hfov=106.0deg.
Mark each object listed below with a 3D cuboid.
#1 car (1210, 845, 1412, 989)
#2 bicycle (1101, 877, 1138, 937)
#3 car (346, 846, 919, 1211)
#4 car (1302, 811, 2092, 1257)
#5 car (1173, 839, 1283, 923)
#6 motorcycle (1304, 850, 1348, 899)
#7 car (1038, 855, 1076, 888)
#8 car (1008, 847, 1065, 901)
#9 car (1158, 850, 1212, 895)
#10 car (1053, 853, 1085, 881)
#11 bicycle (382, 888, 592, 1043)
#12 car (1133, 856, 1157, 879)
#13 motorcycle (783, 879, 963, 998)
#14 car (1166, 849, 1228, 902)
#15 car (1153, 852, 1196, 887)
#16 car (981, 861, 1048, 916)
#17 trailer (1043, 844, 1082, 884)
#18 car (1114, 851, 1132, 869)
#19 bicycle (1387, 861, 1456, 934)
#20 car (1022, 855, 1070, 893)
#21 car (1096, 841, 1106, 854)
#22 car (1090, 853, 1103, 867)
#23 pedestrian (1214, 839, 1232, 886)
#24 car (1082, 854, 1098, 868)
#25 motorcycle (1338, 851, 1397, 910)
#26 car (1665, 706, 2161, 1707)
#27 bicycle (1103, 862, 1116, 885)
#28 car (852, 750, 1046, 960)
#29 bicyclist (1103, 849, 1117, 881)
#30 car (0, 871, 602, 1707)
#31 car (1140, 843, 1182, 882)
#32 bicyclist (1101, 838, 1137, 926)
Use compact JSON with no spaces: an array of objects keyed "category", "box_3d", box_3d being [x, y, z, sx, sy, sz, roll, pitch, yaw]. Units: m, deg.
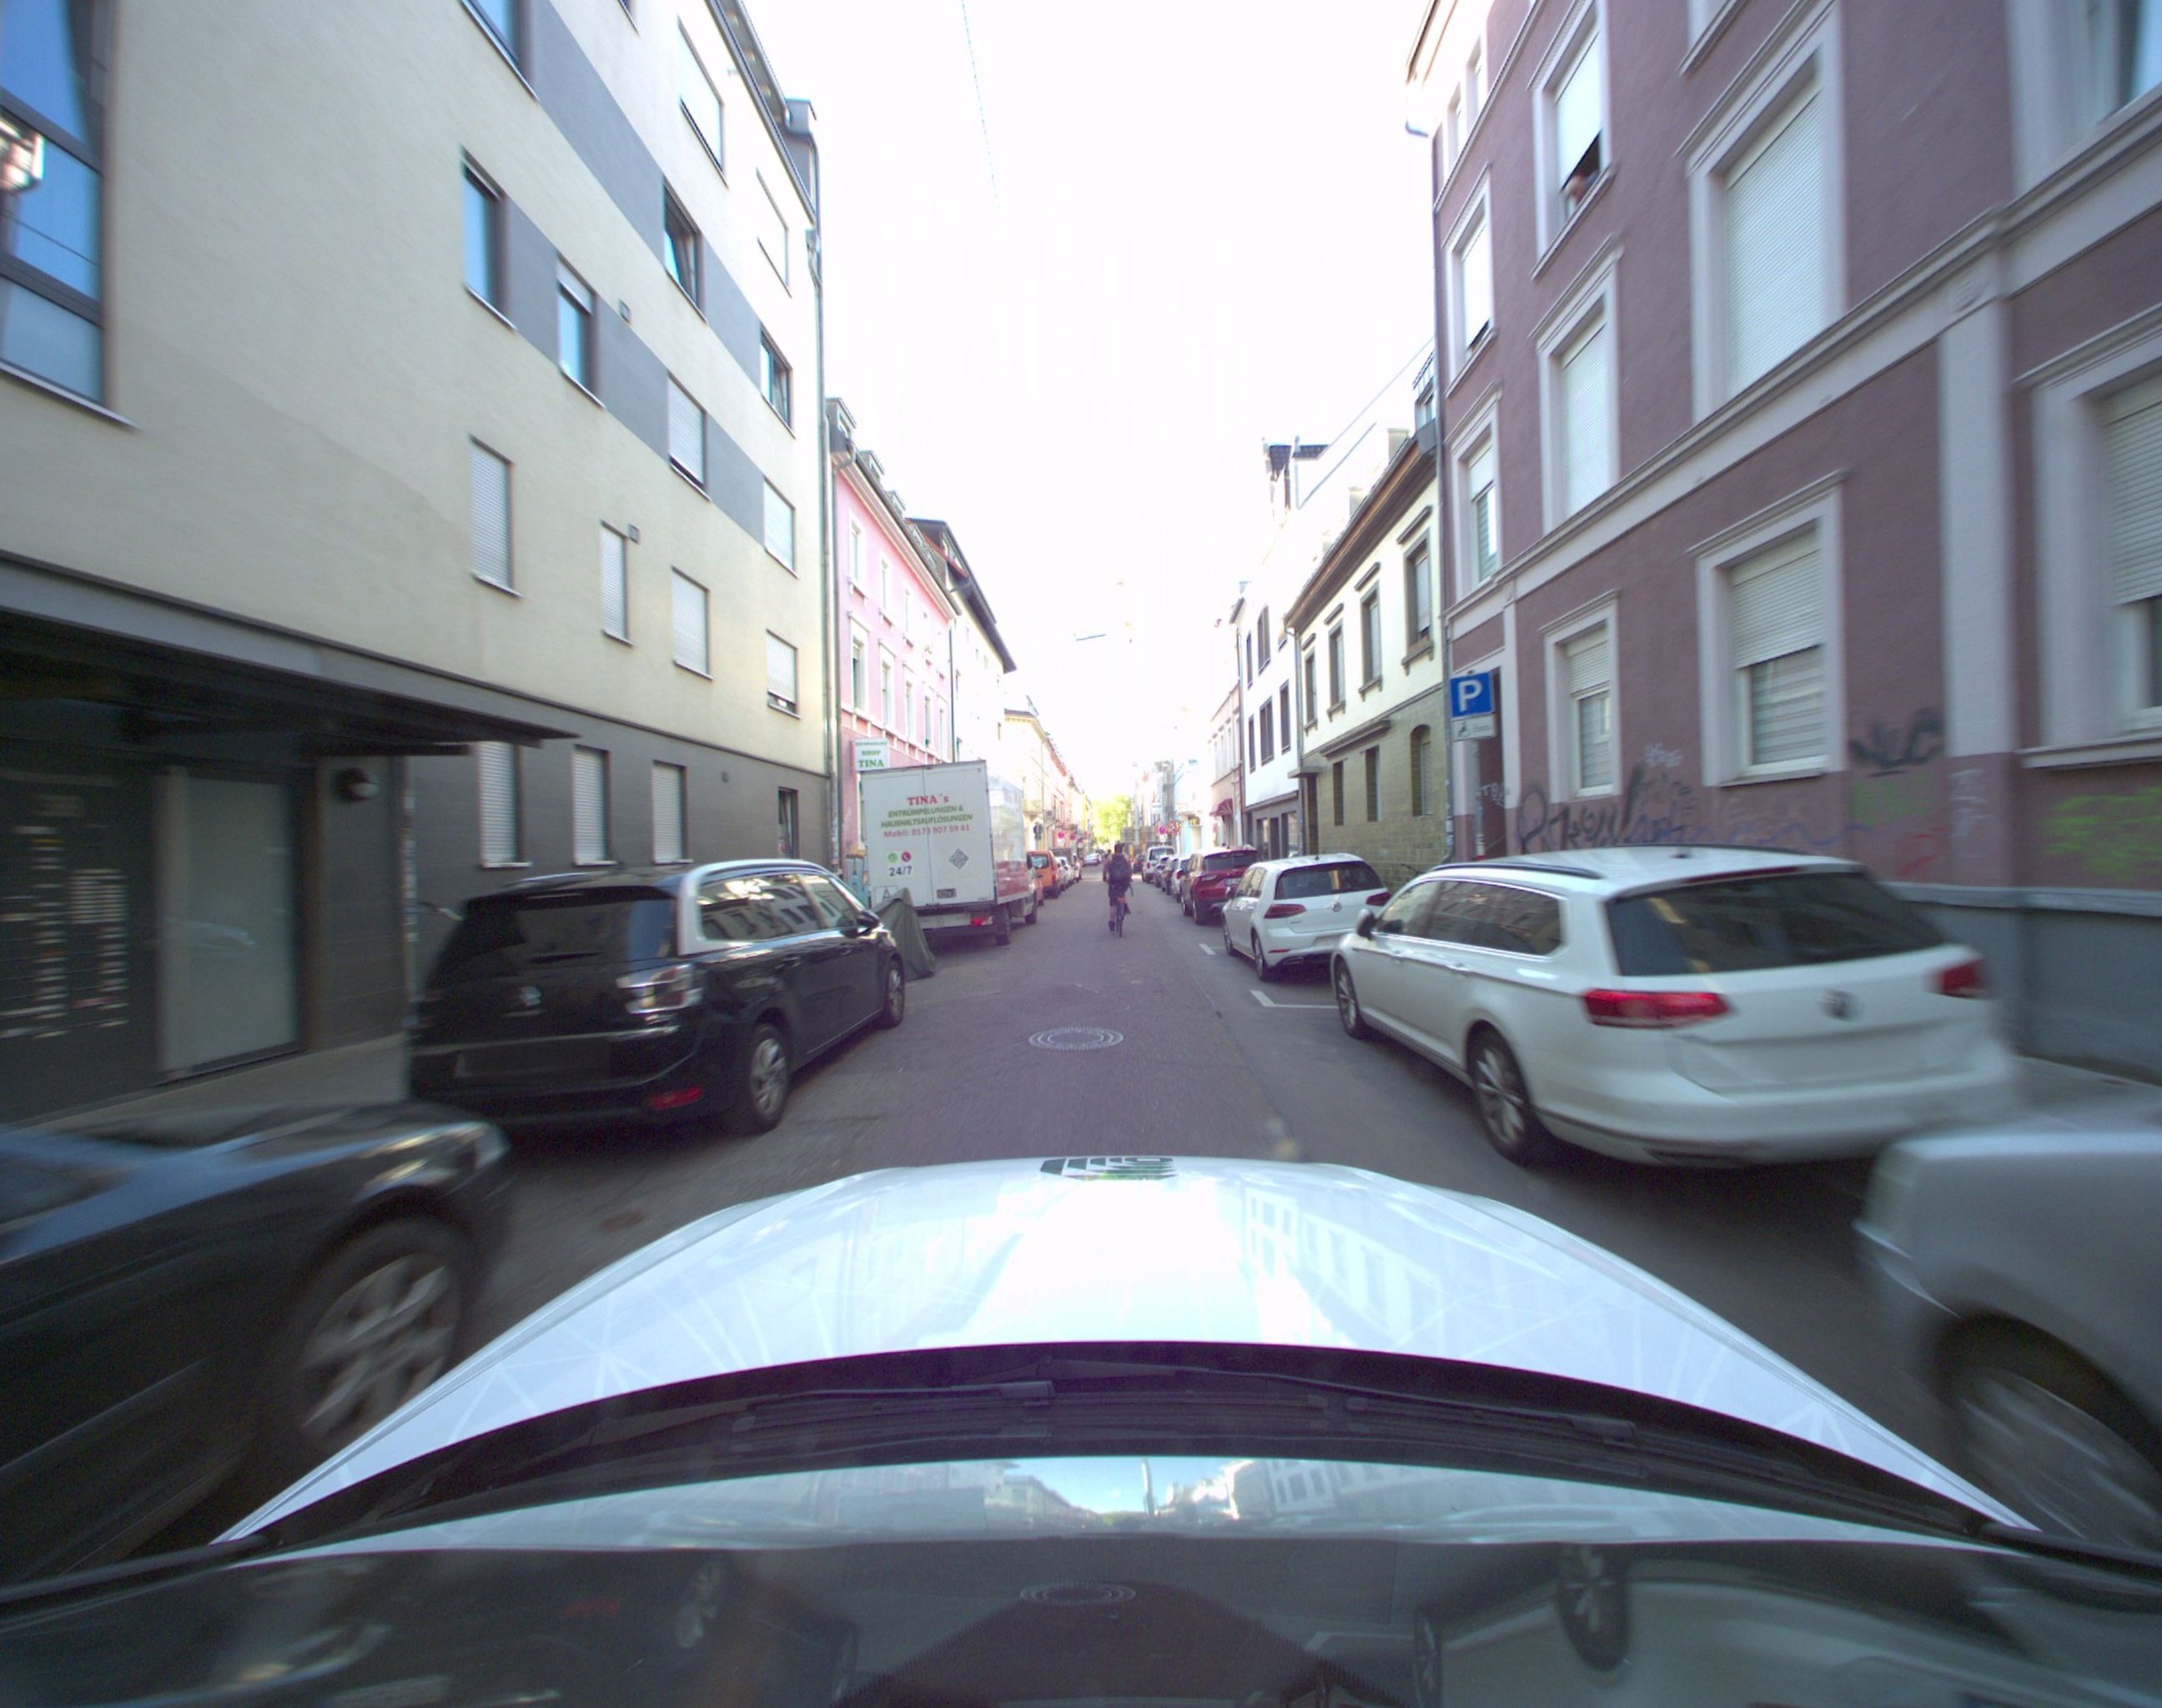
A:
[{"category":"car","box_3d":[2.945,0.736,11.309,1.680,1.543,4.047,-4,-1,2]},{"category":"bicycle","box_3d":[0.750,1.013,16.128,0.674,1.074,1.942,-1,-1,2]},{"category":"car","box_3d":[-2.620,0.835,6.106,1.710,1.650,4.247,-4,1,2]},{"category":"car","box_3d":[2.893,0.686,5.326,1.690,1.543,4.630,-4,-1,2]},{"category":"car","box_3d":[3.336,0.569,19.266,1.911,1.706,4.368,-2,0,2]},{"category":"motorcycle","box_3d":[5.934,0.482,19.813,0.499,1.095,1.879,-4,-1,2]},{"category":"car","box_3d":[-1.204,0.857,41.729,1.647,1.537,3.636,-3,-1,2]},{"category":"car","box_3d":[-1.635,0.745,31.197,1.746,1.816,4.079,-4,-1,1]},{"category":"car","box_3d":[4.005,0.692,31.903,1.640,1.475,3.972,-6,-1,2]},{"category":"car","box_3d":[-0.724,0.807,50.681,1.743,1.573,3.797,-3,-1,2]},{"category":"bicycle","box_3d":[-5.375,0.945,7.521,0.488,1.164,1.775,-4,0,3]},{"category":"car","box_3d":[4.687,0.999,60.397,1.605,1.633,3.612,-1,-1,2]},{"category":"motorcycle","box_3d":[-2.656,1.038,10.633,0.782,1.253,2.120,-4,0,43]},{"category":"car","box_3d":[3.821,0.688,27.402,1.660,1.505,3.819,-5,-1,3]},{"category":"car","box_3d":[4.302,0.713,37.939,1.742,1.487,3.803,-3,-1,4]},{"category":"car","box_3d":[-1.998,1.022,25.502,1.572,1.483,3.566,-5,-1,2]},{"category":"trailer","box_3d":[-1.006,0.585,46.373,1.875,2.092,3.739,-3,-1,2]},{"category":"car","box_3d":[3.886,0.568,76.481,1.605,1.560,3.612,-1,-1,2]},{"category":"bicycle","box_3d":[5.777,0.705,13.911,0.519,1.173,1.686,-1,-1,2]},{"category":"car","box_3d":[-1.492,0.860,36.592,1.743,1.537,4.321,-3,-1,2]},{"category":"car","box_3d":[3.606,-1.144,146.330,1.743,2.318,3.797,-3,-1,2]},{"category":"car","box_3d":[2.297,0.897,117.287,1.743,1.821,3.797,-3,-1,2]},{"category":"pedestrian","box_3d":[6.183,0.352,35.373,0.641,2.014,0.764,-1,-1,2]},{"category":"car","box_3d":[1.152,0.847,99.717,1.743,1.683,3.797,-3,-1,2]},{"category":"motorcycle","box_3d":[5.852,0.522,16.730,0.556,1.095,1.777,-4,-1,2]},{"category":"car","box_3d":[2.513,0.601,0.685,1.550,1.712,3.560,-1,-1,2]},{"category":"bicycle","box_3d":[1.440,0.968,40.898,0.646,1.129,2.137,-1,-1,2]},{"category":"car","box_3d":[-2.319,0.047,16.898,2.334,3.291,7.159,-4,-1,3]},{"category":"bicyclist","box_3d":[1.434,0.567,40.805,0.668,1.567,0.716,-1,-1,1]},{"category":"car","box_3d":[-2.740,0.894,0.755,1.710,1.478,4.501,-4,1,2]},{"category":"car","box_3d":[4.168,0.458,43.013,1.744,1.879,3.971,-3,-1,0]},{"category":"bicyclist","box_3d":[0.744,0.534,16.126,0.665,1.677,1.097,-1,-1,2]}]
